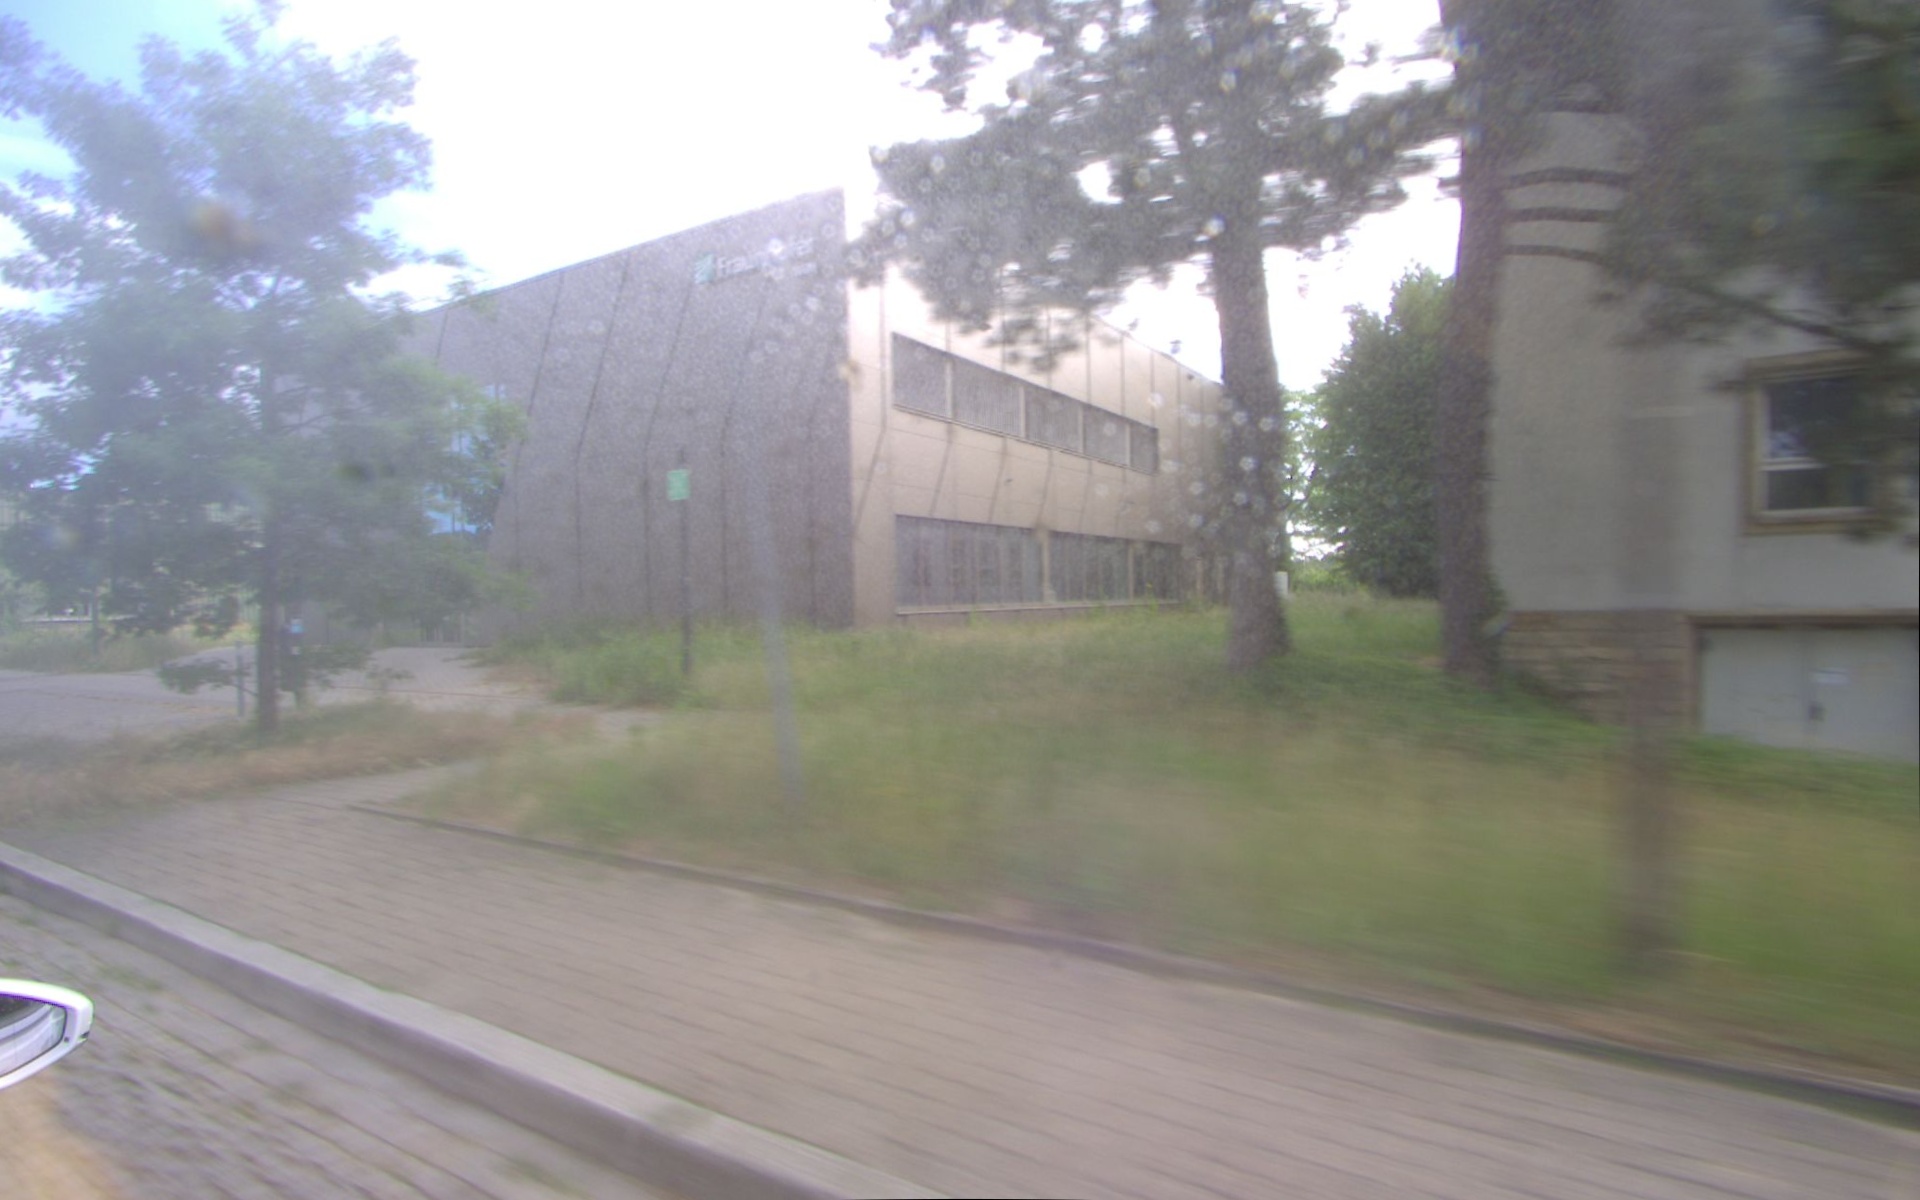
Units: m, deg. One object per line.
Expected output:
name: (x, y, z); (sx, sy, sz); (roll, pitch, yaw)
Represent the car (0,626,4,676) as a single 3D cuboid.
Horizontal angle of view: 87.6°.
car: (-24.244, 1.152, 21.847); (1.796, 1.463, 4.514); (-1, 2, 29)
